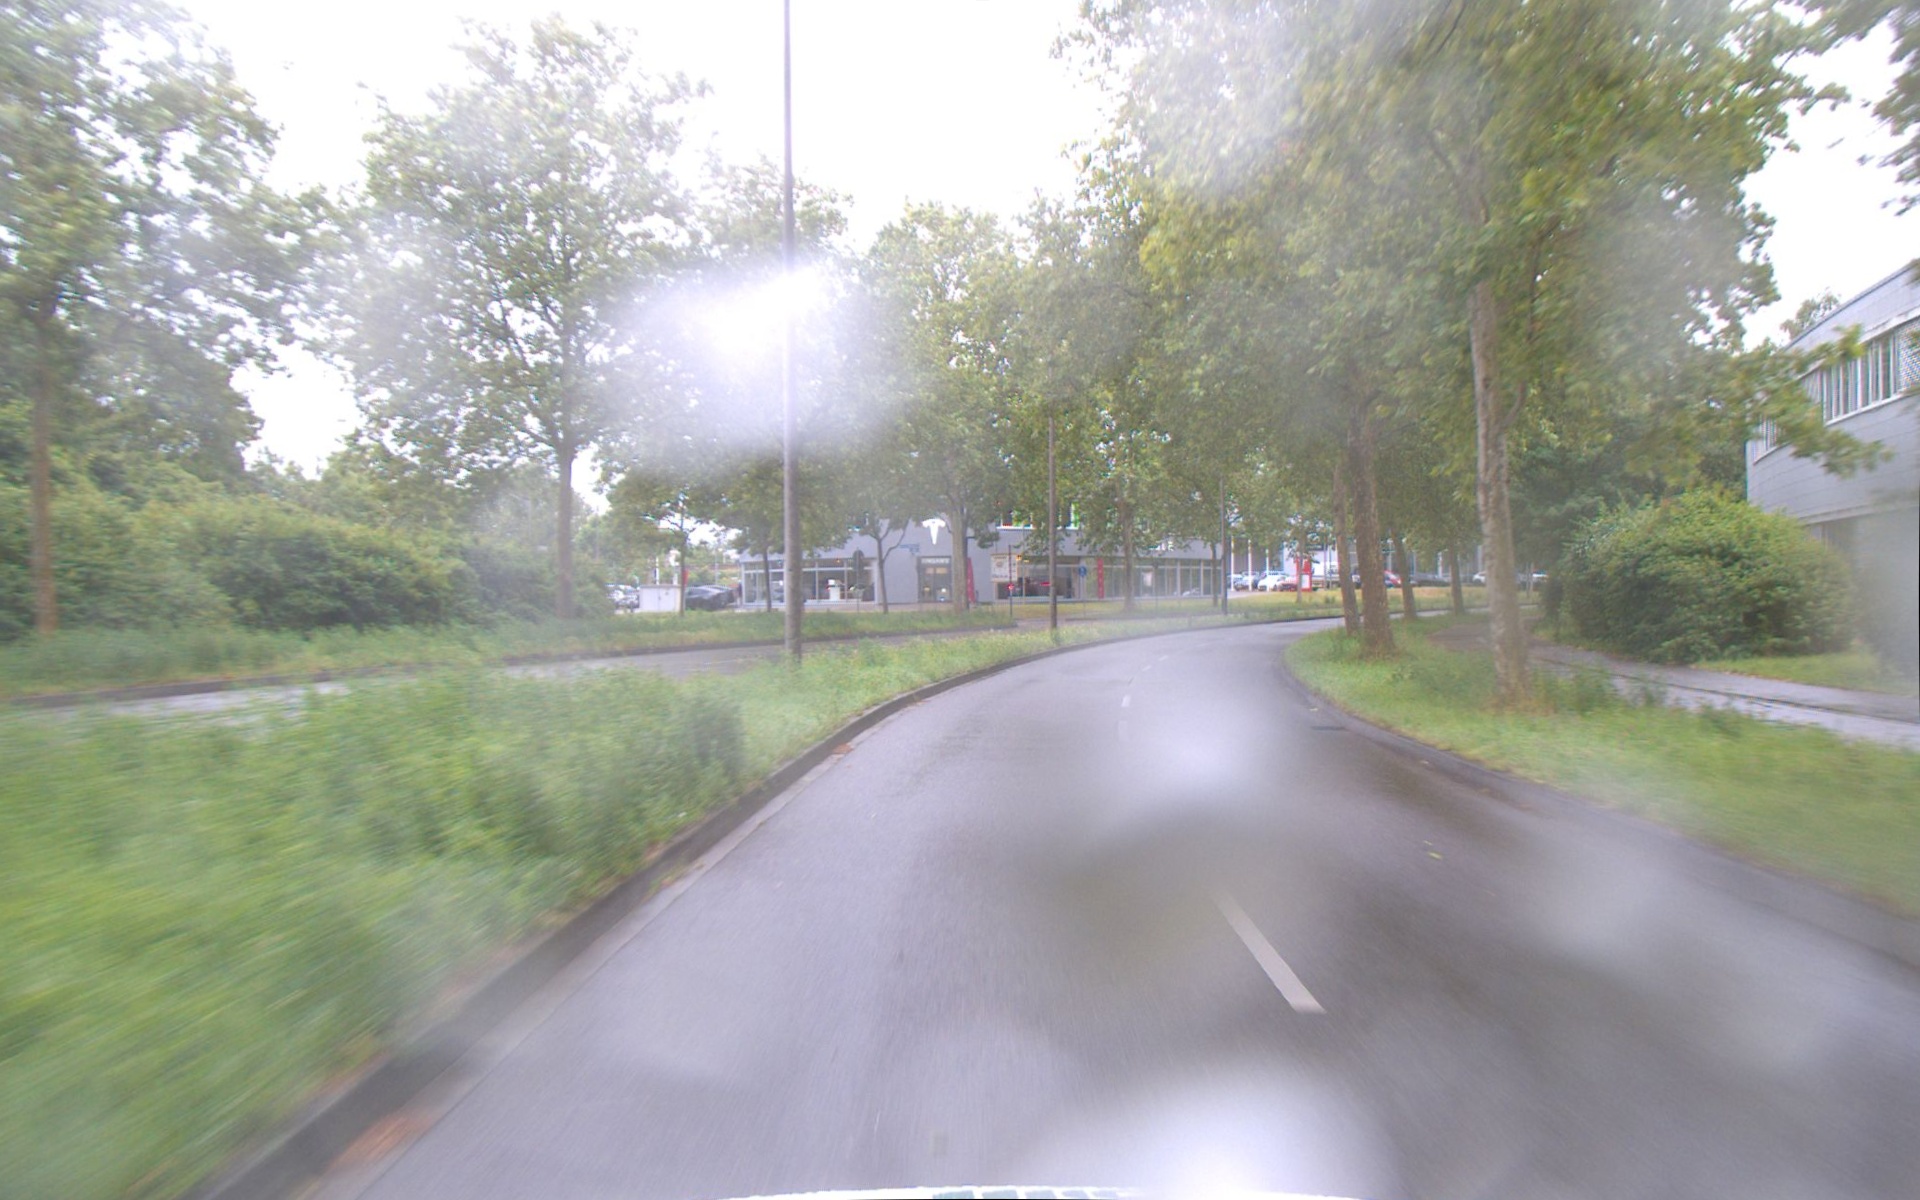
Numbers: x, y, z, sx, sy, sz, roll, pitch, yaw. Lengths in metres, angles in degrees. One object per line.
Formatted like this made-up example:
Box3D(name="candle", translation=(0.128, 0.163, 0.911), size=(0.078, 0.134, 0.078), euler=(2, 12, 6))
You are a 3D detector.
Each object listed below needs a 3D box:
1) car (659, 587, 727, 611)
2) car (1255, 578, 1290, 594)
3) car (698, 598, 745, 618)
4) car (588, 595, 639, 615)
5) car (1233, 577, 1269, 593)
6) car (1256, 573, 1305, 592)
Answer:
Box3D(name="car", translation=(-17.450, -0.084, 108.125), size=(4.102, 1.520, 1.599), euler=(0, 0, 7))
Box3D(name="car", translation=(29.914, -1.342, 158.166), size=(1.733, 1.421, 4.141), euler=(2, 3, 36))
Box3D(name="car", translation=(-18.090, 0.608, 125.655), size=(3.235, 1.520, 1.599), euler=(0, 0, 7))
Box3D(name="car", translation=(-27.800, 0.399, 132.707), size=(3.680, 1.520, 1.599), euler=(0, 0, 7))
Box3D(name="car", translation=(28.079, -1.455, 159.582), size=(1.733, 1.421, 4.141), euler=(2, 3, 36))
Box3D(name="car", translation=(32.471, -1.794, 167.628), size=(4.552, 1.795, 1.818), euler=(0, 2, -8))
